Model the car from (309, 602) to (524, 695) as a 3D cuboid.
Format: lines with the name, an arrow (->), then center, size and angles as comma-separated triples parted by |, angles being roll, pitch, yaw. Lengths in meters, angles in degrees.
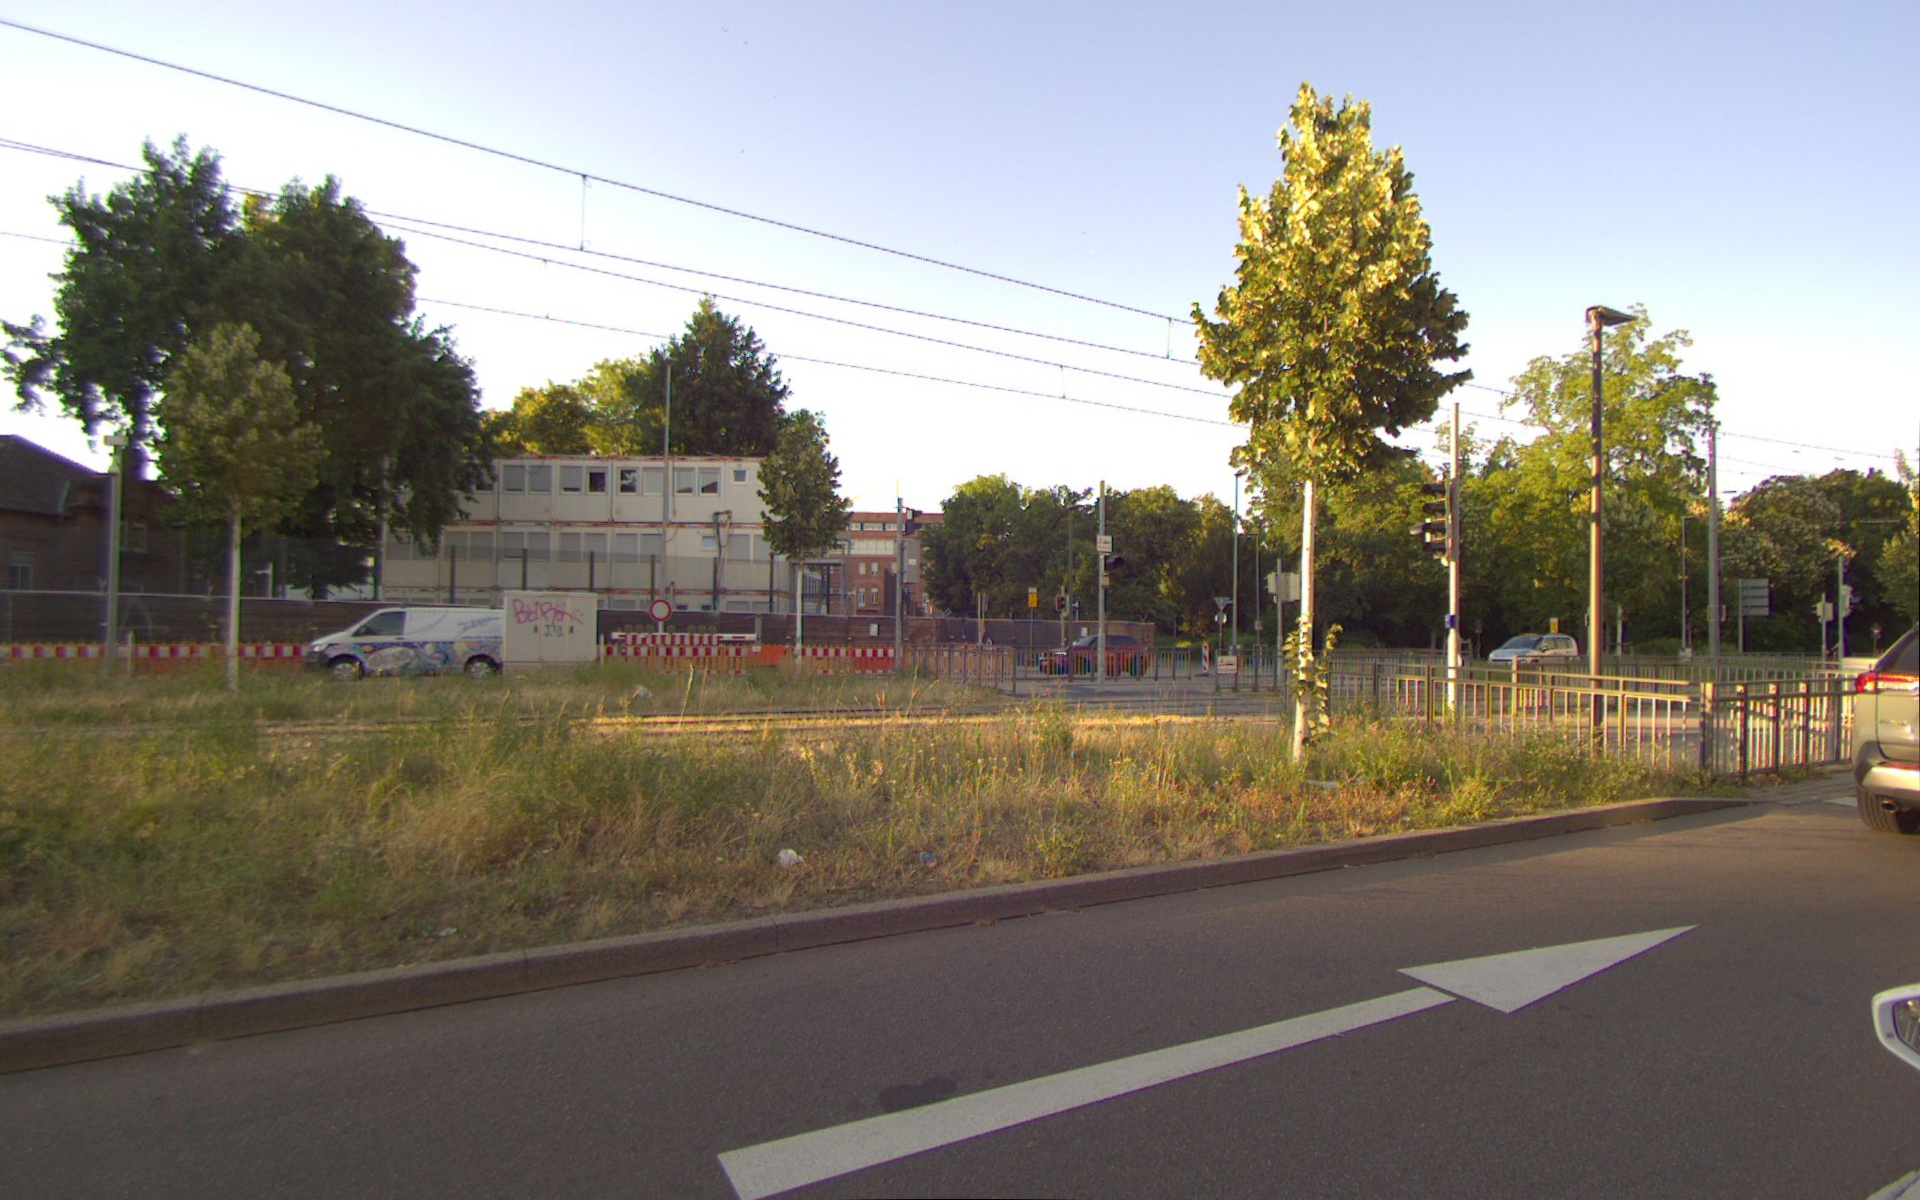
car -> -13.831, 1.160, 25.832 | 4.690, 2.197, 1.986 | 0, 0, -28

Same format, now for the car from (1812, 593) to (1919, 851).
car -> 8.269, 0.806, 7.308 | 4.217, 1.681, 1.846 | 0, 0, -30

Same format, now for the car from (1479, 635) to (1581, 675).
car -> 22.196, 2.122, 39.098 | 3.737, 1.501, 1.792 | 1, -2, -29

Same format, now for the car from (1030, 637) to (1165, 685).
car -> 4.885, 2.128, 35.719 | 4.464, 1.501, 1.986 | 0, 0, -28

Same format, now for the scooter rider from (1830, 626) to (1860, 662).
scooter rider -> 38.842, 1.929, 44.085 | 0.807, 1.534, 0.653 | 0, -2, 22

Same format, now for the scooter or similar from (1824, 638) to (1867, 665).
scooter or similar -> 38.816, 2.263, 44.056 | 1.308, 1.168, 0.513 | 0, -2, 22
